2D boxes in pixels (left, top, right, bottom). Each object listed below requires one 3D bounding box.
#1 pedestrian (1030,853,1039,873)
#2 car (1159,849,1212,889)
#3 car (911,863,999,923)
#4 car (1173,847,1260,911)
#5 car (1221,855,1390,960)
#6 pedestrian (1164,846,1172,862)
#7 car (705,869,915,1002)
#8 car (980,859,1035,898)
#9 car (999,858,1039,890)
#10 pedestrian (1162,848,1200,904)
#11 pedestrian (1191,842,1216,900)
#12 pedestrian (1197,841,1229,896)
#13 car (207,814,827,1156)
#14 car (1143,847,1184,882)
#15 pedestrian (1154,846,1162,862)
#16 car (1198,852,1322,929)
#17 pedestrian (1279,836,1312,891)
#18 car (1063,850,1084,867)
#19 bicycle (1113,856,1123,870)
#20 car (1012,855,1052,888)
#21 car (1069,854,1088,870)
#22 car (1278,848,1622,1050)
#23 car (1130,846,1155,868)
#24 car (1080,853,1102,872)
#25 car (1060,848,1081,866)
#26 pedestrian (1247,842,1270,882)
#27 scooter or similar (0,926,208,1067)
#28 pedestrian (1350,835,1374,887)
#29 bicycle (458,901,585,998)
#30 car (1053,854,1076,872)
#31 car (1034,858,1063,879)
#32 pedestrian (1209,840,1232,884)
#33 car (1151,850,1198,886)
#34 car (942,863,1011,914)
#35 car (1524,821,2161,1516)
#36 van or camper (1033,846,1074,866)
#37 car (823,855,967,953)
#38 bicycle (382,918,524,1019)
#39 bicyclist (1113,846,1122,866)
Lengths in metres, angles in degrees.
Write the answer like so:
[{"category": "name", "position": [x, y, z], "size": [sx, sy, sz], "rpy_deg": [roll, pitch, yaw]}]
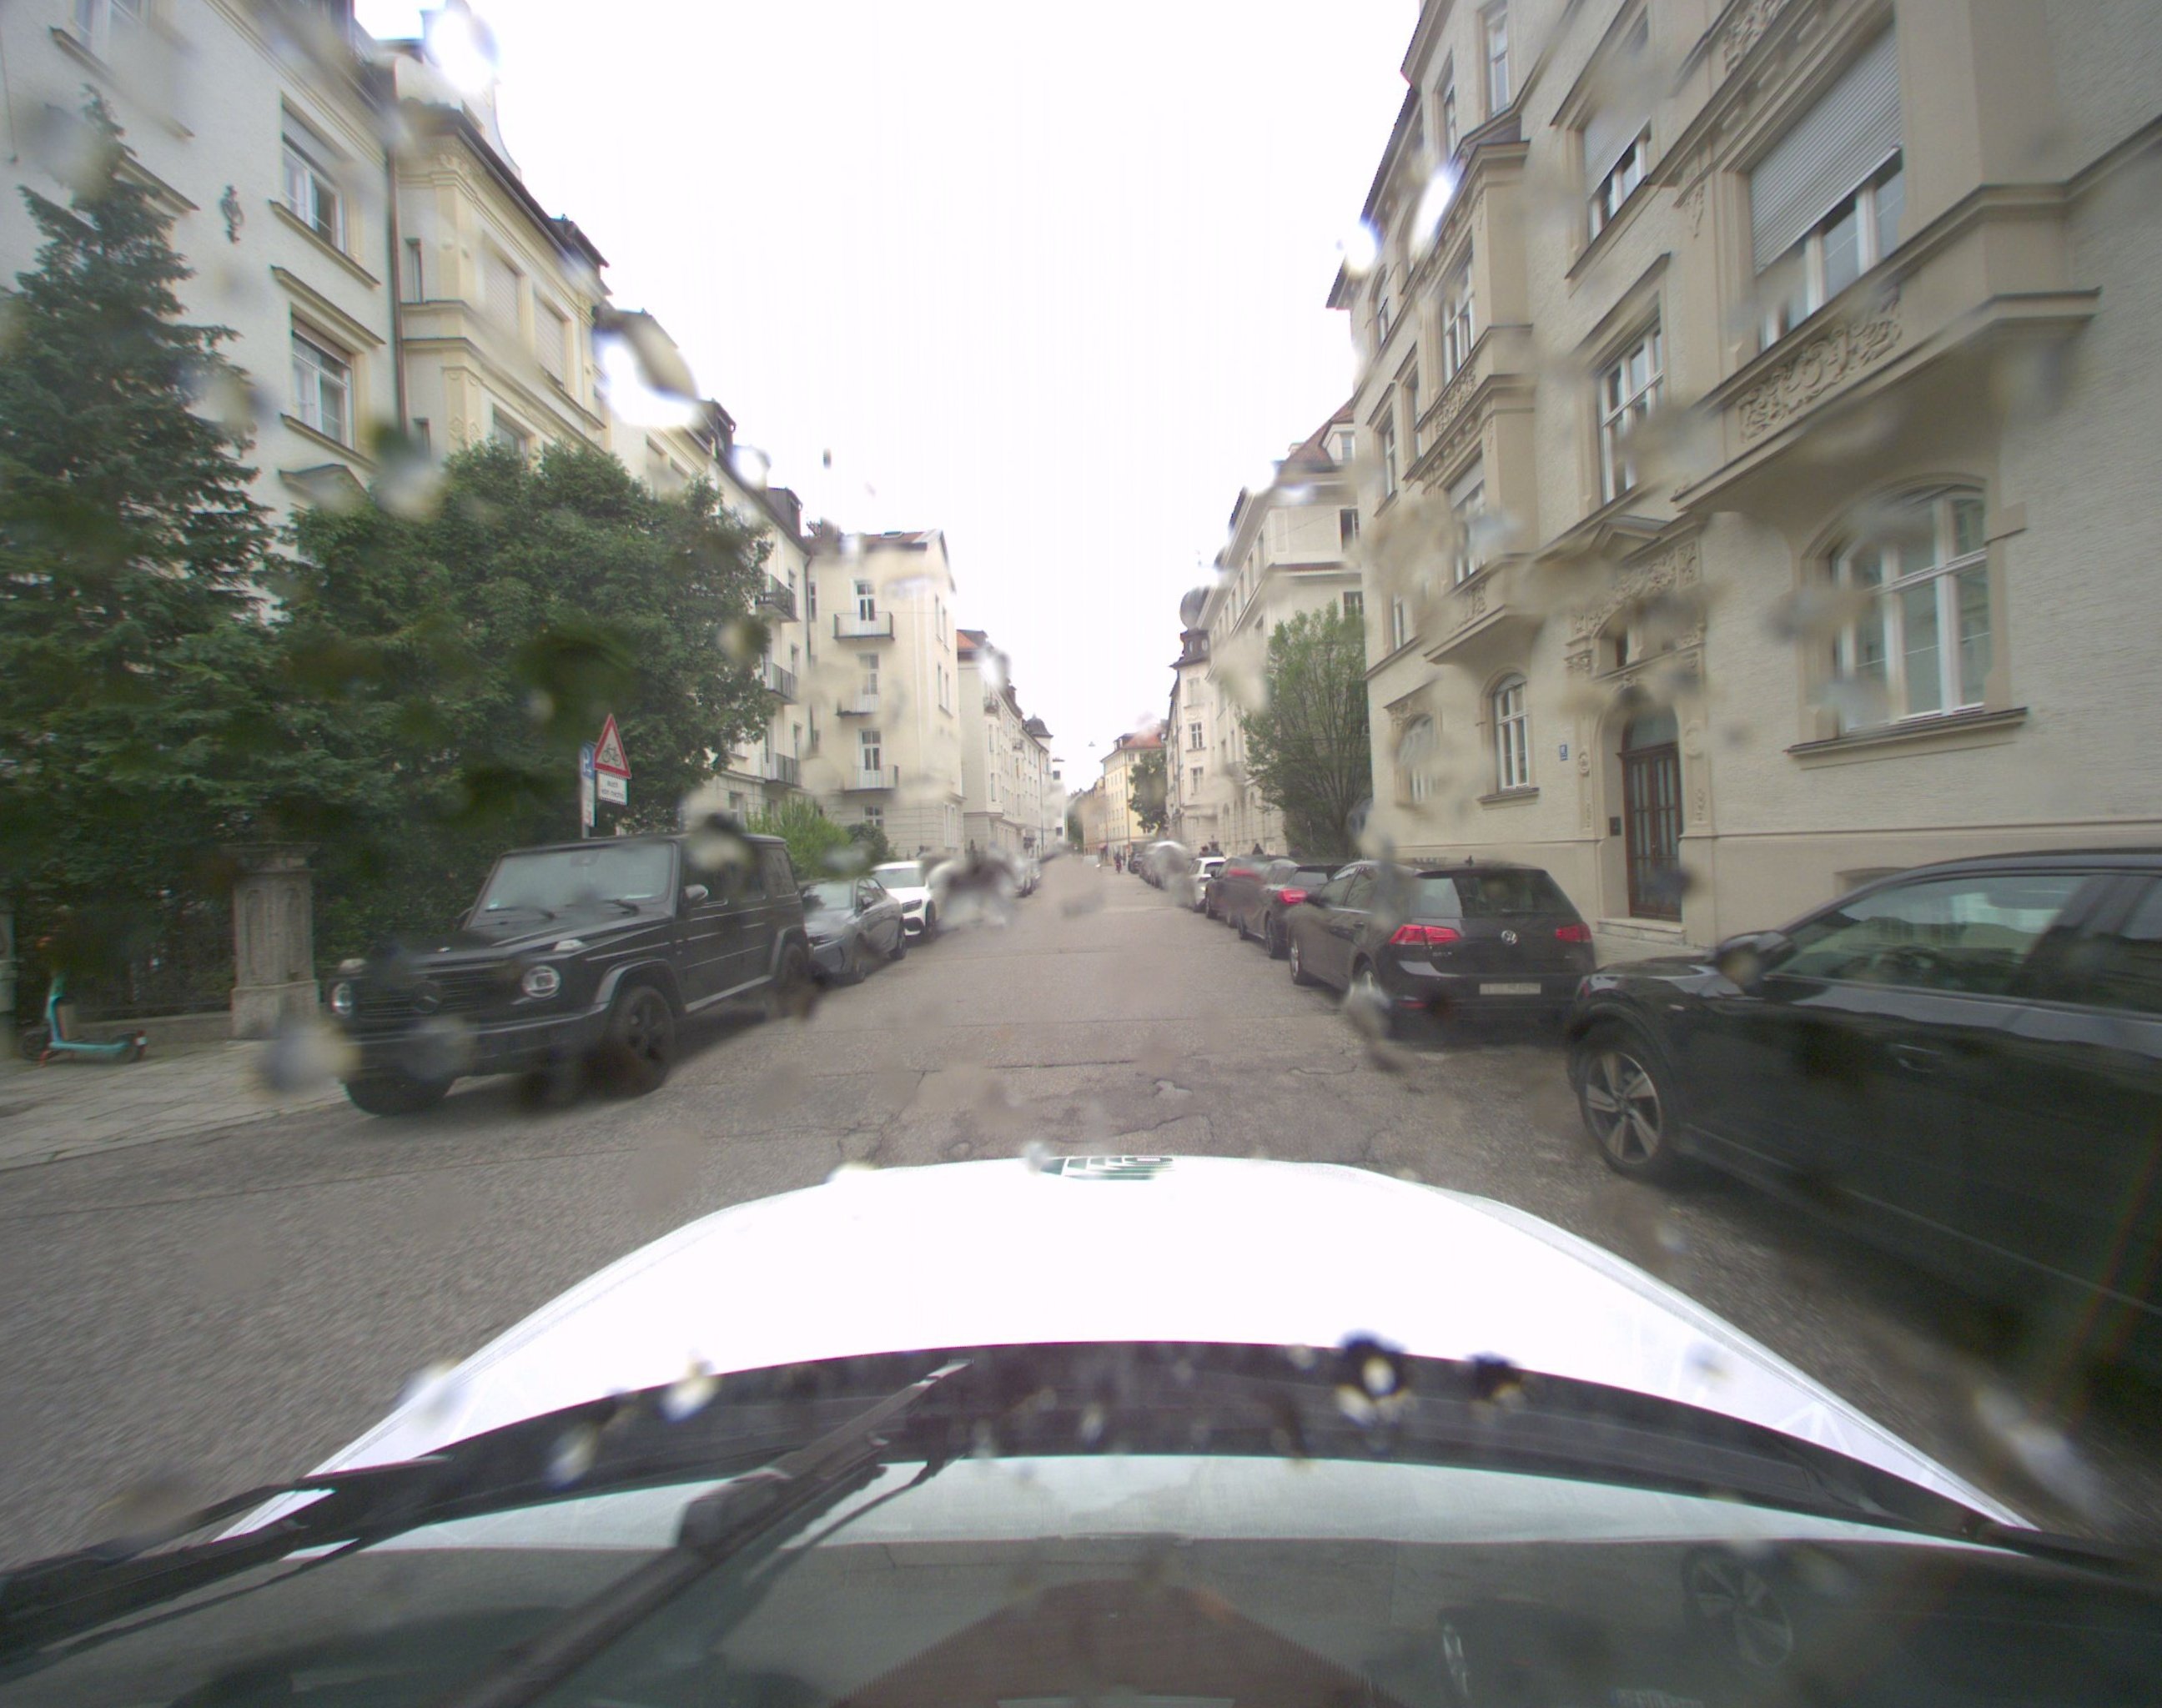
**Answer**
[{"category": "pedestrian", "position": [-4.071, 0.794, 70.845], "size": [0.695, 1.707, 0.665], "rpy_deg": [-2, 0, -1]}, {"category": "car", "position": [4.197, 0.558, 33.241], "size": [1.705, 1.452, 4.226], "rpy_deg": [-2, 1, 1]}, {"category": "car", "position": [-3.320, 0.990, 22.192], "size": [1.763, 1.420, 3.998], "rpy_deg": [-2, -1, -1]}, {"category": "car", "position": [3.643, 0.615, 22.566], "size": [1.658, 1.507, 4.063], "rpy_deg": [-2, 1, -1]}, {"category": "car", "position": [3.373, 0.748, 13.006], "size": [1.735, 1.398, 4.024], "rpy_deg": [-1, -1, 2]}, {"category": "pedestrian", "position": [9.684, 0.018, 90.936], "size": [0.677, 1.674, 0.654], "rpy_deg": [-5, 0, -1]}, {"category": "car", "position": [-3.761, 1.049, 12.078], "size": [1.637, 1.430, 3.919], "rpy_deg": [-6, 0, 0]}, {"category": "car", "position": [-3.022, 0.992, 34.378], "size": [1.790, 1.435, 4.081], "rpy_deg": [-3, 0, 1]}, {"category": "car", "position": [-3.048, 0.959, 40.879], "size": [1.640, 1.403, 3.998], "rpy_deg": [-5, 0, -1]}, {"category": "pedestrian", "position": [3.060, 0.659, 24.996], "size": [0.852, 1.657, 0.862], "rpy_deg": [-2, -1, -15]}, {"category": "pedestrian", "position": [3.831, 0.523, 25.494], "size": [0.625, 1.769, 0.673], "rpy_deg": [-2, 0, 4]}, {"category": "pedestrian", "position": [4.396, 0.473, 27.103], "size": [0.879, 1.769, 0.672], "rpy_deg": [-3, 0, 0]}, {"category": "car", "position": [-4.024, 0.770, 7.129], "size": [1.905, 1.886, 4.818], "rpy_deg": [-3, 0, 1]}, {"category": "car", "position": [4.339, 0.505, 43.532], "size": [1.888, 1.636, 4.395], "rpy_deg": [-3, 1, 3]}, {"category": "pedestrian", "position": [8.605, 0.052, 90.640], "size": [0.701, 1.728, 0.703], "rpy_deg": [-4, 0, -1]}, {"category": "car", "position": [3.869, 0.717, 18.257], "size": [1.787, 1.498, 4.080], "rpy_deg": [0, 1, -2]}, {"category": "pedestrian", "position": [7.209, 0.316, 27.394], "size": [0.856, 1.817, 0.678], "rpy_deg": [-2, 0, 0]}, {"category": "car", "position": [-0.789, 0.485, 90.047], "size": [1.834, 1.757, 4.005], "rpy_deg": [-3, 0, 4]}, {"category": "bicycle", "position": [2.959, 0.722, 65.585], "size": [0.636, 1.004, 1.577], "rpy_deg": [-3, 0, 6]}, {"category": "car", "position": [-2.694, 0.937, 45.205], "size": [1.690, 1.580, 4.064], "rpy_deg": [-5, 0, 2]}, {"category": "car", "position": [-0.260, 0.914, 95.005], "size": [1.870, 1.783, 4.005], "rpy_deg": [-3, 0, 4]}, {"category": "car", "position": [3.156, 0.685, 7.903], "size": [1.635, 1.417, 4.002], "rpy_deg": [-2, 0, 2]}, {"category": "car", "position": [4.848, 0.219, 64.608], "size": [1.702, 1.587, 4.000], "rpy_deg": [-1, 0, 0]}, {"category": "car", "position": [0.908, 0.767, 73.187], "size": [1.718, 1.533, 4.087], "rpy_deg": [-5, 0, 2]}, {"category": "car", "position": [-0.936, 0.292, 74.165], "size": [1.735, 1.486, 4.182], "rpy_deg": [-3, 0, 1]}, {"category": "pedestrian", "position": [7.723, 0.327, 35.445], "size": [0.680, 1.679, 0.812], "rpy_deg": [-5, 0, 1]}, {"category": "scooter or similar", "position": [-8.955, 1.296, 7.468], "size": [1.420, 1.179, 0.460], "rpy_deg": [-2, 2, 5]}, {"category": "pedestrian", "position": [9.856, 0.234, 28.619], "size": [0.570, 1.794, 0.555], "rpy_deg": [-3, 0, 0]}, {"category": "bicycle", "position": [-7.700, 1.273, 11.308], "size": [0.488, 1.097, 1.788], "rpy_deg": [-2, 1, 0]}, {"category": "car", "position": [-1.425, 0.731, 68.537], "size": [1.806, 1.385, 4.440], "rpy_deg": [-4, 0, -2]}, {"category": "car", "position": [-2.313, 1.024, 59.112], "size": [1.844, 1.367, 4.701], "rpy_deg": [-3, 0, 0]}, {"category": "pedestrian", "position": [5.854, 0.334, 34.282], "size": [0.679, 1.775, 0.855], "rpy_deg": [-5, 0, 2]}, {"category": "car", "position": [4.265, 0.607, 37.633], "size": [1.742, 1.525, 4.172], "rpy_deg": [-2, 0, 2]}, {"category": "car", "position": [-3.396, 1.072, 27.159], "size": [1.730, 1.364, 4.191], "rpy_deg": [-5, 0, -1]}, {"category": "car", "position": [3.228, 0.660, 2.420], "size": [1.736, 1.516, 3.959], "rpy_deg": [-2, 0, 2]}, {"category": "van or camper", "position": [-4.042, 0.318, 119.846], "size": [5.898, 2.677, 1.869], "rpy_deg": [-3, -2, -7]}, {"category": "car", "position": [-3.719, 0.919, 17.149], "size": [1.800, 1.648, 4.486], "rpy_deg": [-4, 0, 1]}, {"category": "bicycle", "position": [-7.700, 1.368, 10.076], "size": [0.449, 0.951, 1.637], "rpy_deg": [-2, 1, 0]}, {"category": "bicyclist", "position": [2.928, 0.136, 65.622], "size": [0.603, 1.606, 0.759], "rpy_deg": [-3, 0, 6]}]
